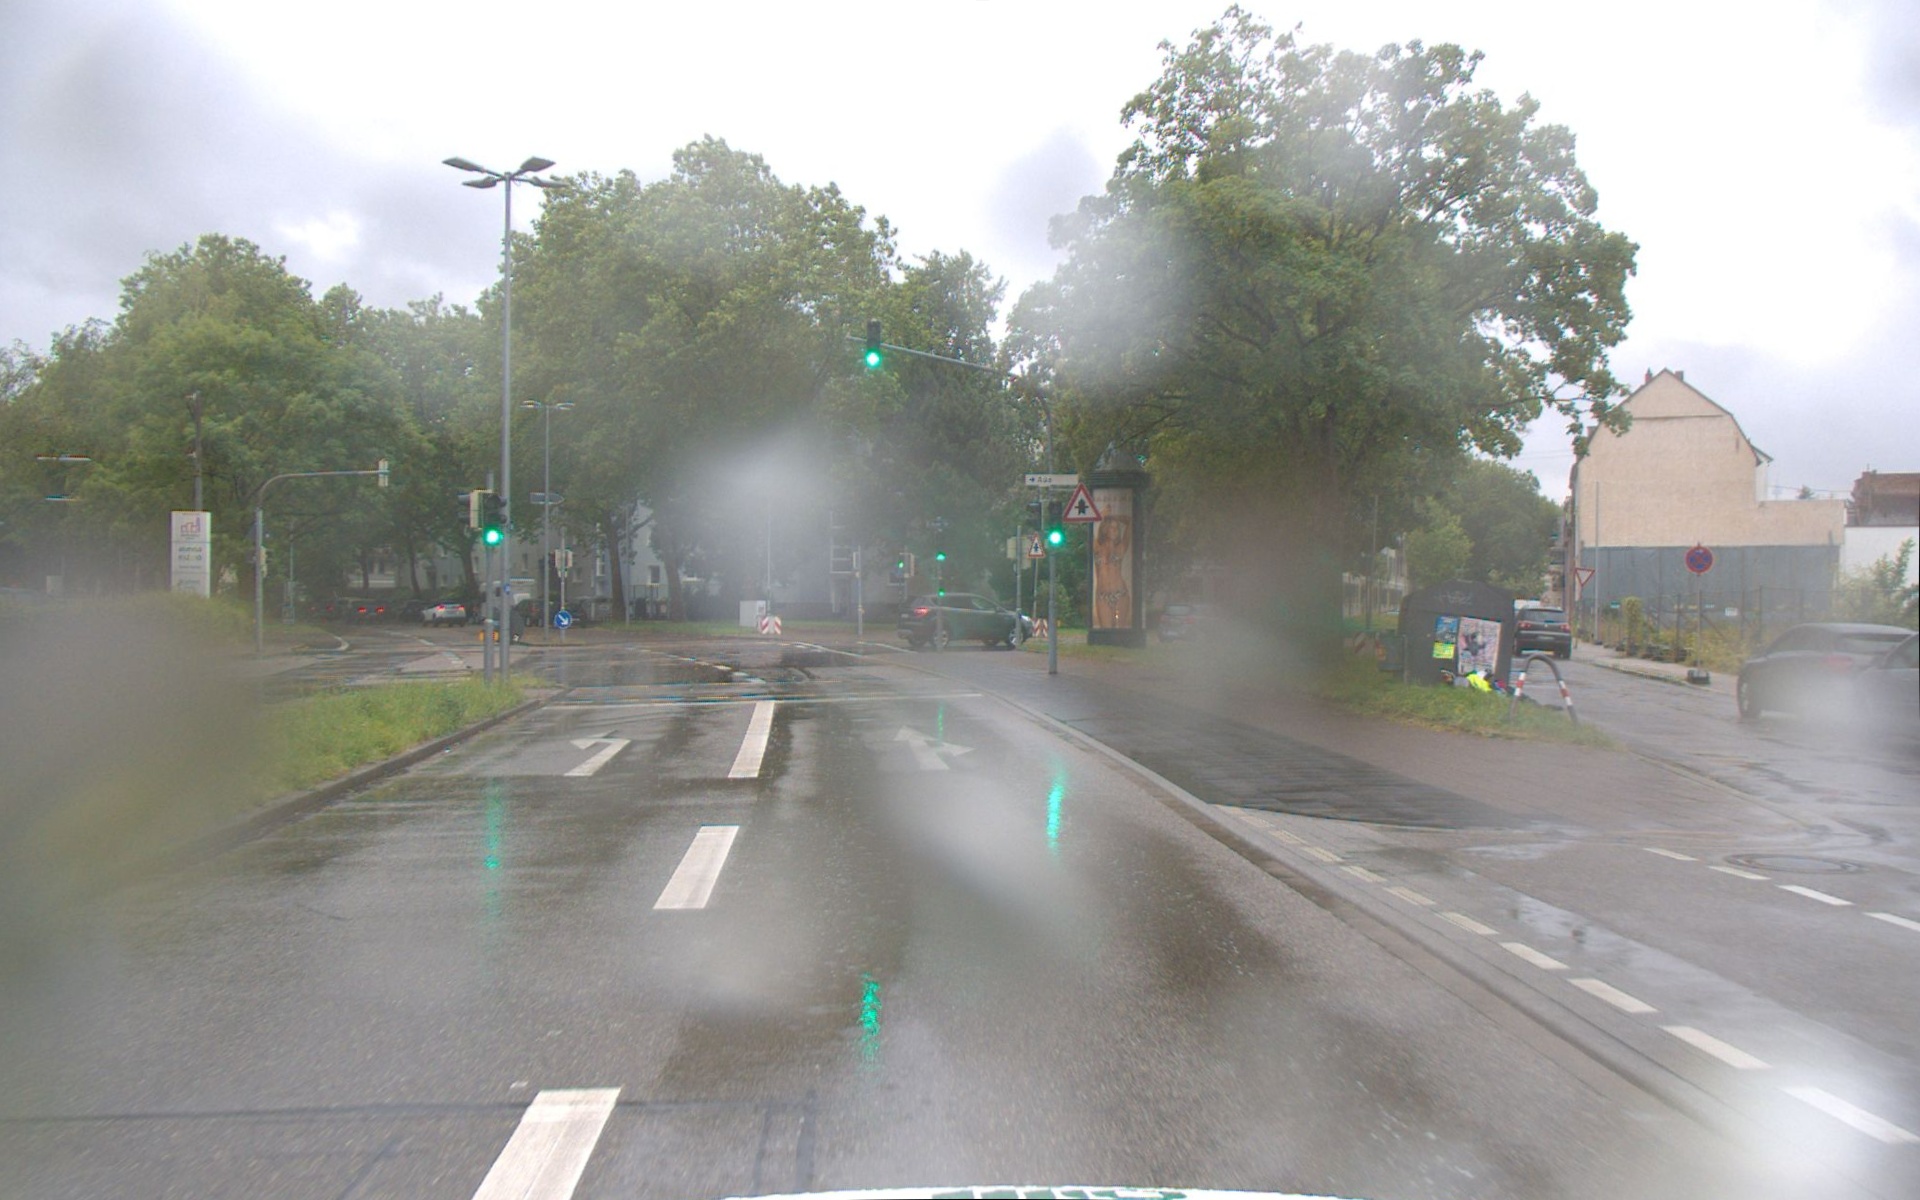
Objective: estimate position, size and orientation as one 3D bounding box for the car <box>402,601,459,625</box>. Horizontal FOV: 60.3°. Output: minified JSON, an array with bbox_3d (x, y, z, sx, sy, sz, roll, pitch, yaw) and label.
[{"bbox_3d":[-37.985,0.944,118.687,1.761,1.629,3.766,0,-1,25],"label":"car"}]

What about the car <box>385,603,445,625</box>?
[{"bbox_3d":[-40.495,1.053,122.929,1.990,1.629,3.994,0,-1,28],"label":"car"}]

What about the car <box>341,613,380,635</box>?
[{"bbox_3d":[-41.581,1.637,114.633,1.692,1.436,3.600,-2,1,-34],"label":"car"}]

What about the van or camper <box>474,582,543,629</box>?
[{"bbox_3d":[-28.238,0.349,103.250,2.297,2.856,6.786,1,-1,-32],"label":"van or camper"}]

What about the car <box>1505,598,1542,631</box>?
[{"bbox_3d":[39.600,1.046,116.135,2.301,2.247,4.612,1,-1,21],"label":"car"}]

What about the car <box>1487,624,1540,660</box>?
[{"bbox_3d":[25.912,1.934,77.341,1.934,1.576,4.527,0,-1,24],"label":"car"}]

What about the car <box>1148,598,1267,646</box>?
[{"bbox_3d":[8.583,0.766,57.196,4.052,1.630,1.970,1,-1,-41],"label":"car"}]

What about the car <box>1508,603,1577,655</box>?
[{"bbox_3d":[19.658,0.972,55.943,1.814,1.683,4.308,1,-1,14],"label":"car"}]

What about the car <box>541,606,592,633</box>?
[{"bbox_3d":[-21.878,1.062,91.935,1.533,1.414,4.104,1,-1,-32],"label":"car"}]

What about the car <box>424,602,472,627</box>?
[{"bbox_3d":[-30.291,0.845,97.763,1.692,1.436,3.600,-2,1,-34],"label":"car"}]

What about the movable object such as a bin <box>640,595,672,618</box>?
[{"bbox_3d":[-20.217,0.438,109.910,1.827,1.458,1.211,0,-1,38],"label":"movable object such as a bin"}]

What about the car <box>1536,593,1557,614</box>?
[{"bbox_3d":[59.222,0.336,167.076,1.952,2.049,4.000,1,-1,20],"label":"car"}]

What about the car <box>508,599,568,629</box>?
[{"bbox_3d":[-24.436,0.829,95.674,1.900,1.649,4.397,1,-2,-35],"label":"car"}]

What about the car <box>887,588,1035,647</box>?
[{"bbox_3d":[0.038,0.551,51.771,4.246,1.774,1.980,1,-1,-30],"label":"car"}]

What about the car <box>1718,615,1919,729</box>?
[{"bbox_3d":[12.369,0.963,23.666,1.661,1.458,4.160,1,-1,8],"label":"car"}]

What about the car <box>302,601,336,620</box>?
[{"bbox_3d":[-49.459,0.789,127.566,1.692,1.436,3.600,-2,1,-34],"label":"car"}]

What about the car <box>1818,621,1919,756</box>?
[{"bbox_3d":[11.317,0.976,18.671,1.599,1.458,4.180,1,-1,8],"label":"car"}]
